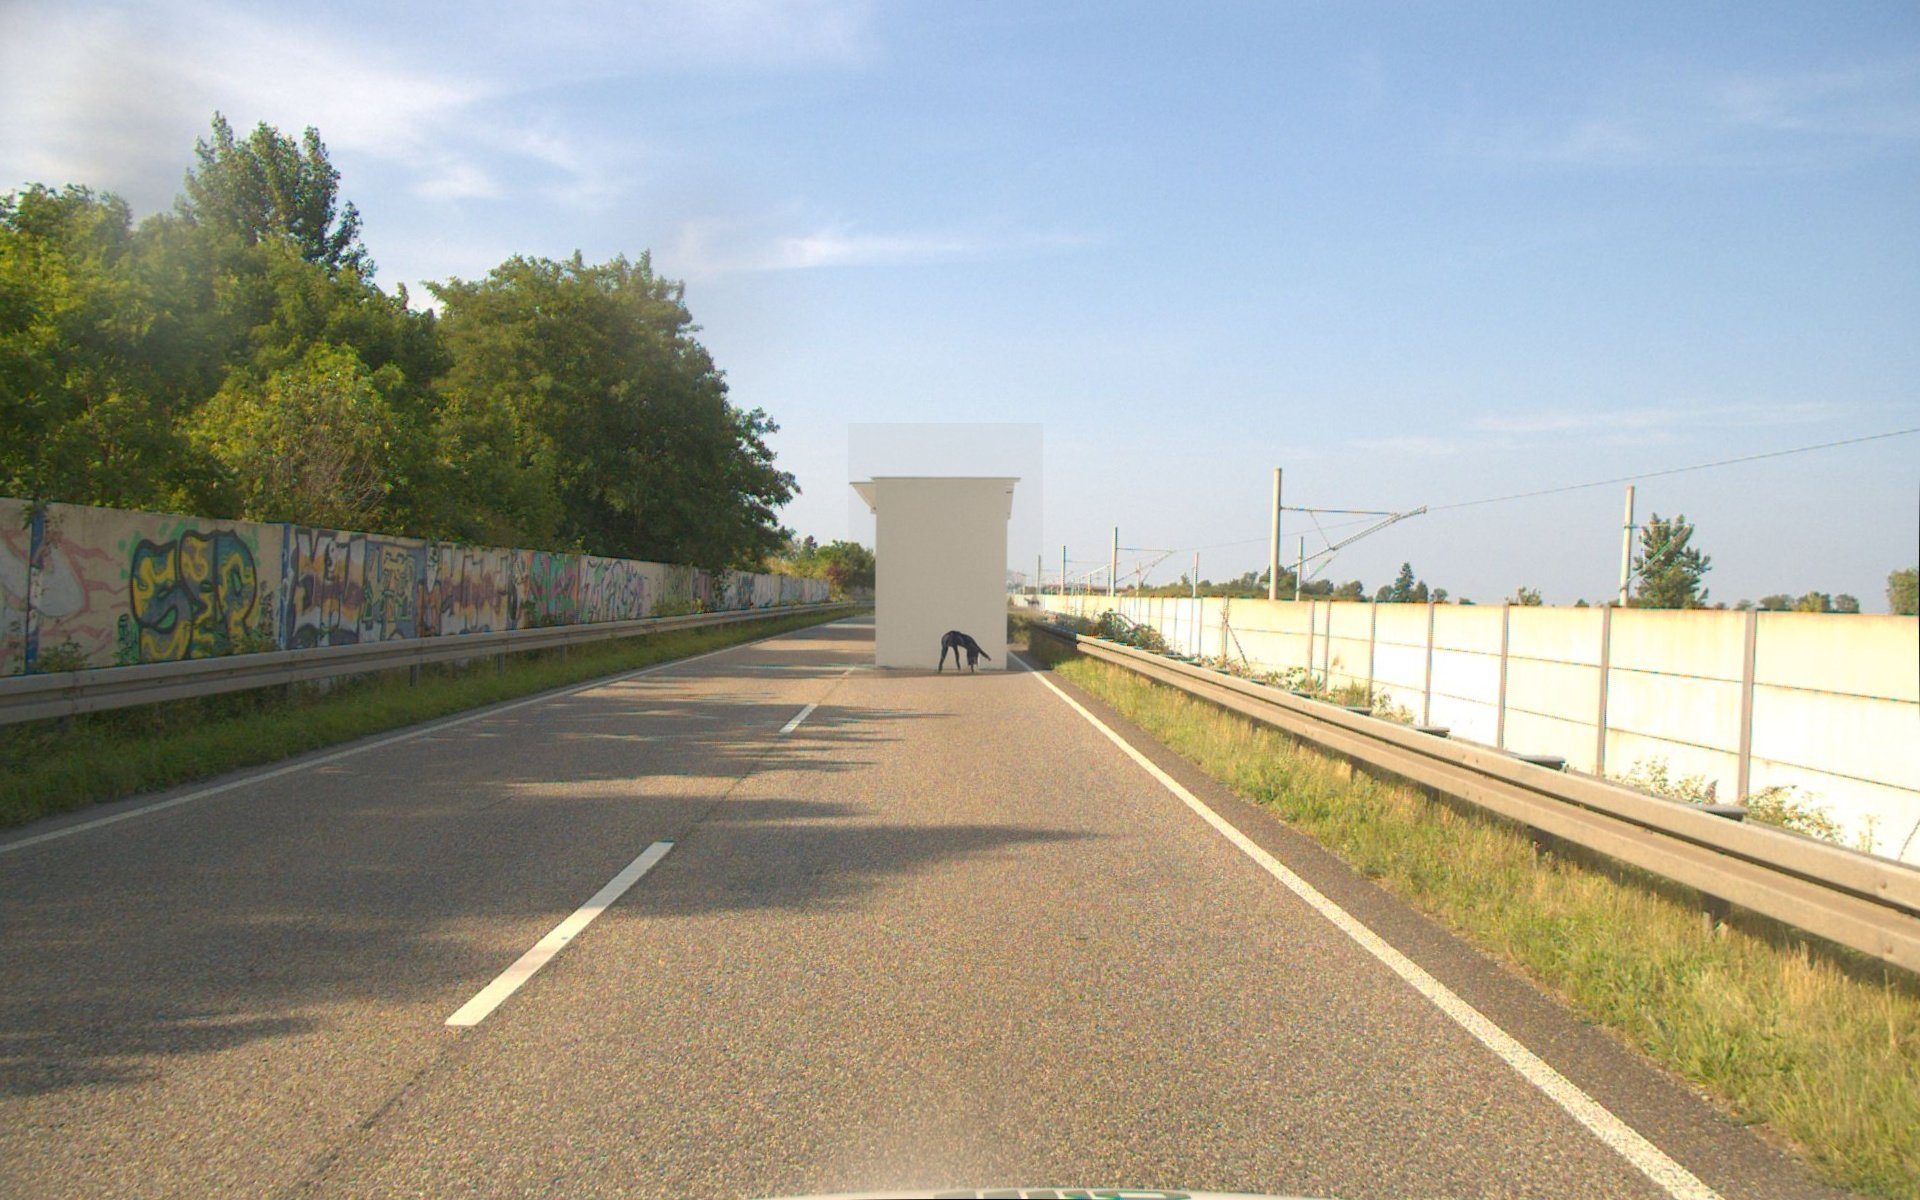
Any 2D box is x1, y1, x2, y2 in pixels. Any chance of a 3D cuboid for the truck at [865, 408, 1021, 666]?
[{"bbox_3d":[-0.558,-1.284,38.248,2.972,5.006,11.679,1,1,-2],"label":"truck"}]
